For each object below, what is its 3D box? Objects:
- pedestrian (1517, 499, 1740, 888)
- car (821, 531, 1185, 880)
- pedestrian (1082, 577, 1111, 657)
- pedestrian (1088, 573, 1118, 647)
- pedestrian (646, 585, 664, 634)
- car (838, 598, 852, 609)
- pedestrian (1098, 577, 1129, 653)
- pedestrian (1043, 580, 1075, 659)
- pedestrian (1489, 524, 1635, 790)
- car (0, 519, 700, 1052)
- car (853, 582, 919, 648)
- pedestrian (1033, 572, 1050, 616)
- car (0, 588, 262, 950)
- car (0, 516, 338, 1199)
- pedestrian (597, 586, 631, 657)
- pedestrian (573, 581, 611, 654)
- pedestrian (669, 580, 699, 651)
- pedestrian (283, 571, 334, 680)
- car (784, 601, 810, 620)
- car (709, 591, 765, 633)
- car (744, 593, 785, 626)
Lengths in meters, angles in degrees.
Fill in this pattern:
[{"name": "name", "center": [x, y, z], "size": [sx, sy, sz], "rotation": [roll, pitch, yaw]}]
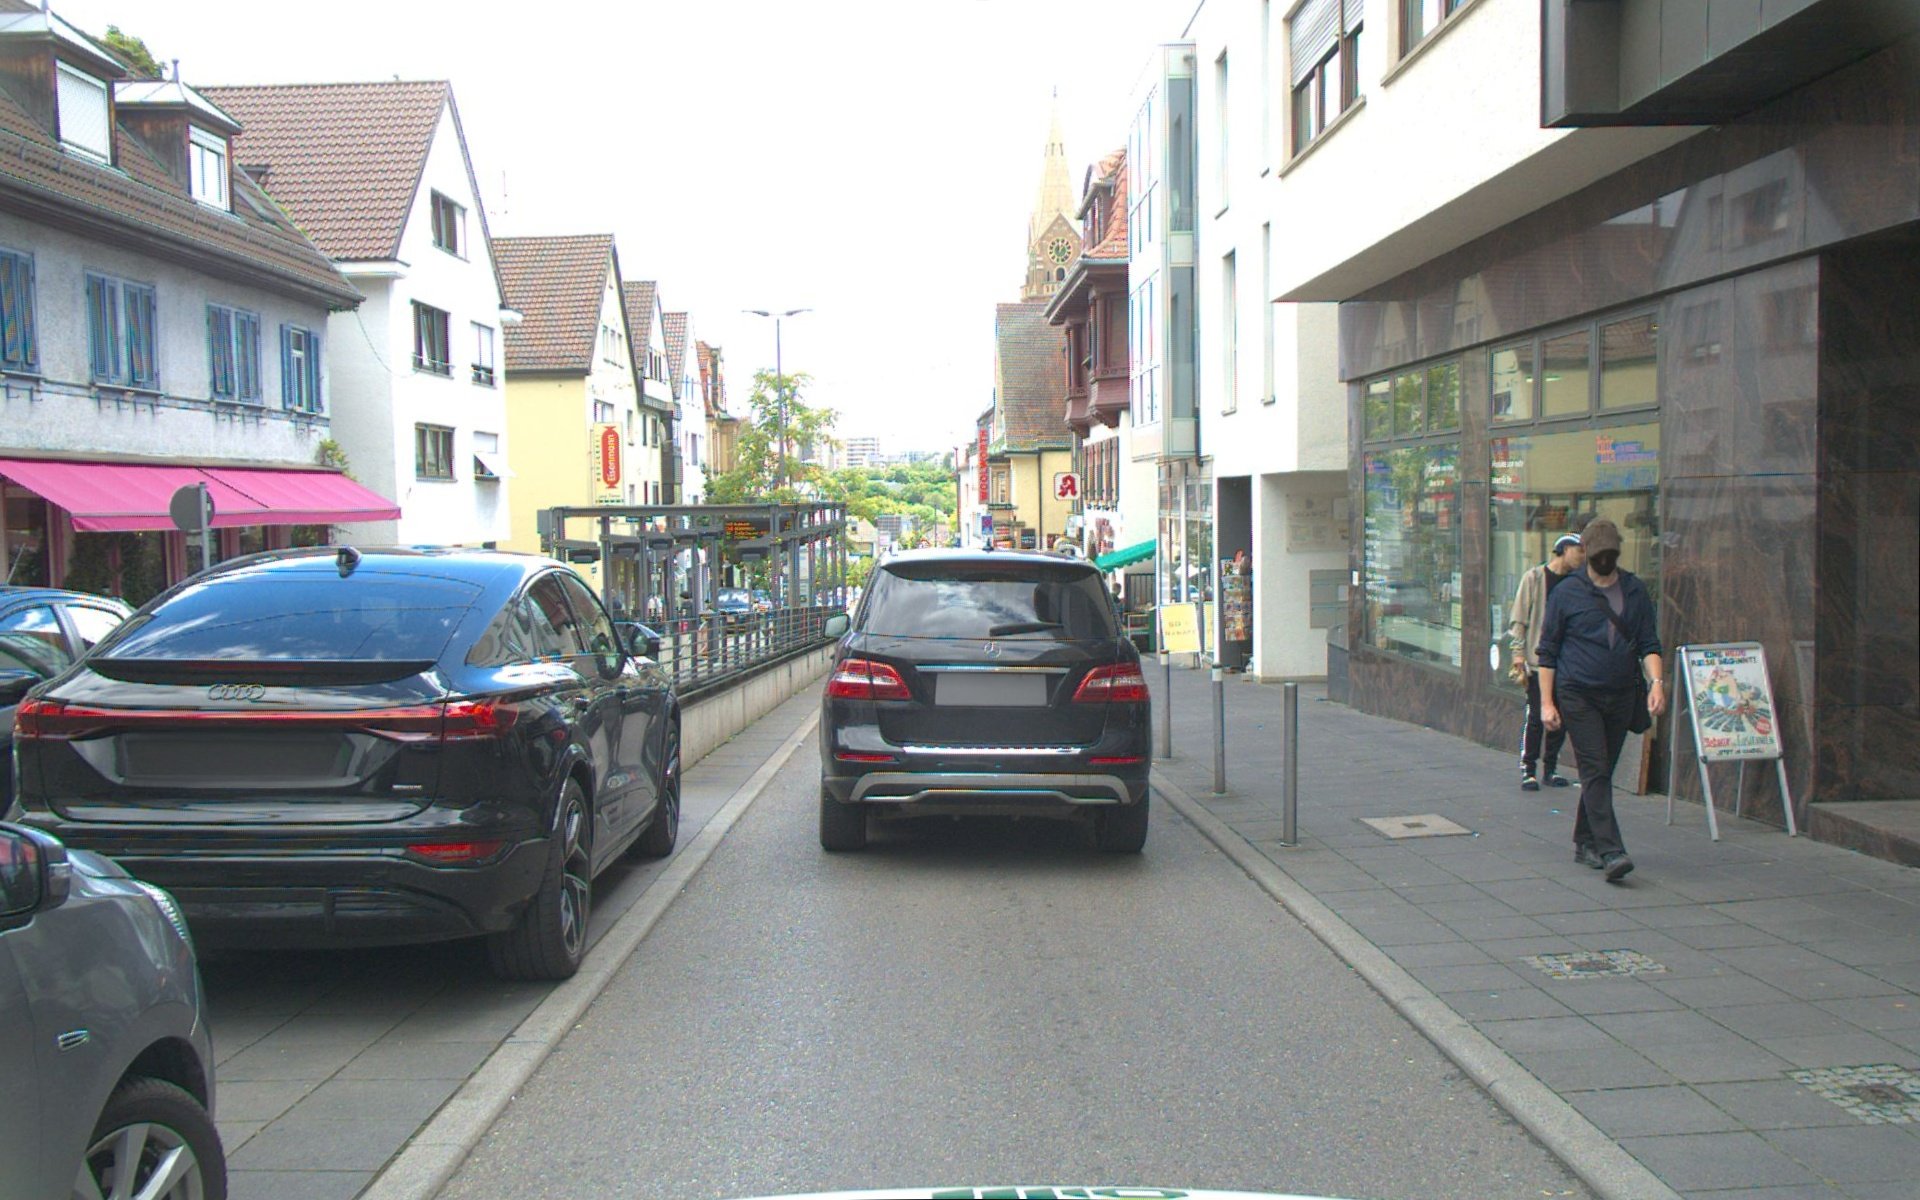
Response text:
[{"name": "pedestrian", "center": [3.257, 0.435, 8.119], "size": [0.697, 1.784, 0.787], "rotation": [-3, 0, -1]}, {"name": "car", "center": [0.128, 0.545, 10.551], "size": [1.863, 1.777, 3.998], "rotation": [1, 0, -3]}, {"name": "pedestrian", "center": [3.038, 0.375, 36.841], "size": [0.532, 1.756, 0.527], "rotation": [-1, 0, -8]}, {"name": "pedestrian", "center": [3.380, 0.240, 39.141], "size": [0.562, 1.718, 0.565], "rotation": [1, 0, -8]}, {"name": "pedestrian", "center": [-10.658, 0.329, 57.773], "size": [0.502, 1.718, 0.541], "rotation": [1, 0, -2]}, {"name": "car", "center": [-12.287, 0.354, 176.719], "size": [1.360, 1.089, 3.112], "rotation": [-1, 0, -1]}, {"name": "pedestrian", "center": [3.543, 0.333, 38.186], "size": [0.562, 1.718, 0.565], "rotation": [-2, 0, -8]}, {"name": "pedestrian", "center": [2.202, 0.431, 36.857], "size": [0.609, 1.718, 0.565], "rotation": [1, 0, -8]}, {"name": "pedestrian", "center": [4.079, 0.372, 11.232], "size": [0.650, 1.718, 0.542], "rotation": [-4, 1, -8]}, {"name": "car", "center": [-2.383, 0.584, 7.374], "size": [1.917, 1.668, 4.312], "rotation": [1, 0, -2]}, {"name": "car", "center": [-2.046, 0.399, 46.469], "size": [1.734, 1.743, 3.999], "rotation": [1, 0, -2]}, {"name": "pedestrian", "center": [3.273, -0.234, 66.322], "size": [0.594, 1.718, 0.724], "rotation": [-1, 0, -2]}, {"name": "car", "center": [-4.879, 0.694, 7.714], "size": [1.704, 1.501, 3.882], "rotation": [1, 0, -2]}, {"name": "car", "center": [-2.152, 0.650, 1.838], "size": [1.587, 1.559, 3.669], "rotation": [1, 0, -1]}, {"name": "pedestrian", "center": [-8.491, 0.516, 40.557], "size": [0.608, 1.718, 0.554], "rotation": [1, 0, -42]}, {"name": "pedestrian", "center": [-8.743, 0.414, 39.313], "size": [0.710, 1.718, 0.768], "rotation": [1, 0, -2]}, {"name": "pedestrian", "center": [-6.803, 0.377, 40.785], "size": [0.613, 1.718, 0.678], "rotation": [1, 0, -2]}, {"name": "pedestrian", "center": [-10.457, 0.401, 26.555], "size": [0.566, 1.718, 0.576], "rotation": [1, 0, -2]}, {"name": "car", "center": [-10.127, 0.640, 103.072], "size": [1.360, 1.089, 3.112], "rotation": [-1, 0, -1]}, {"name": "car", "center": [-8.524, 0.434, 63.396], "size": [1.655, 1.516, 3.978], "rotation": [1, 0, -1]}, {"name": "car", "center": [-9.465, 0.441, 80.287], "size": [1.627, 1.516, 3.747], "rotation": [1, 0, -1]}]
